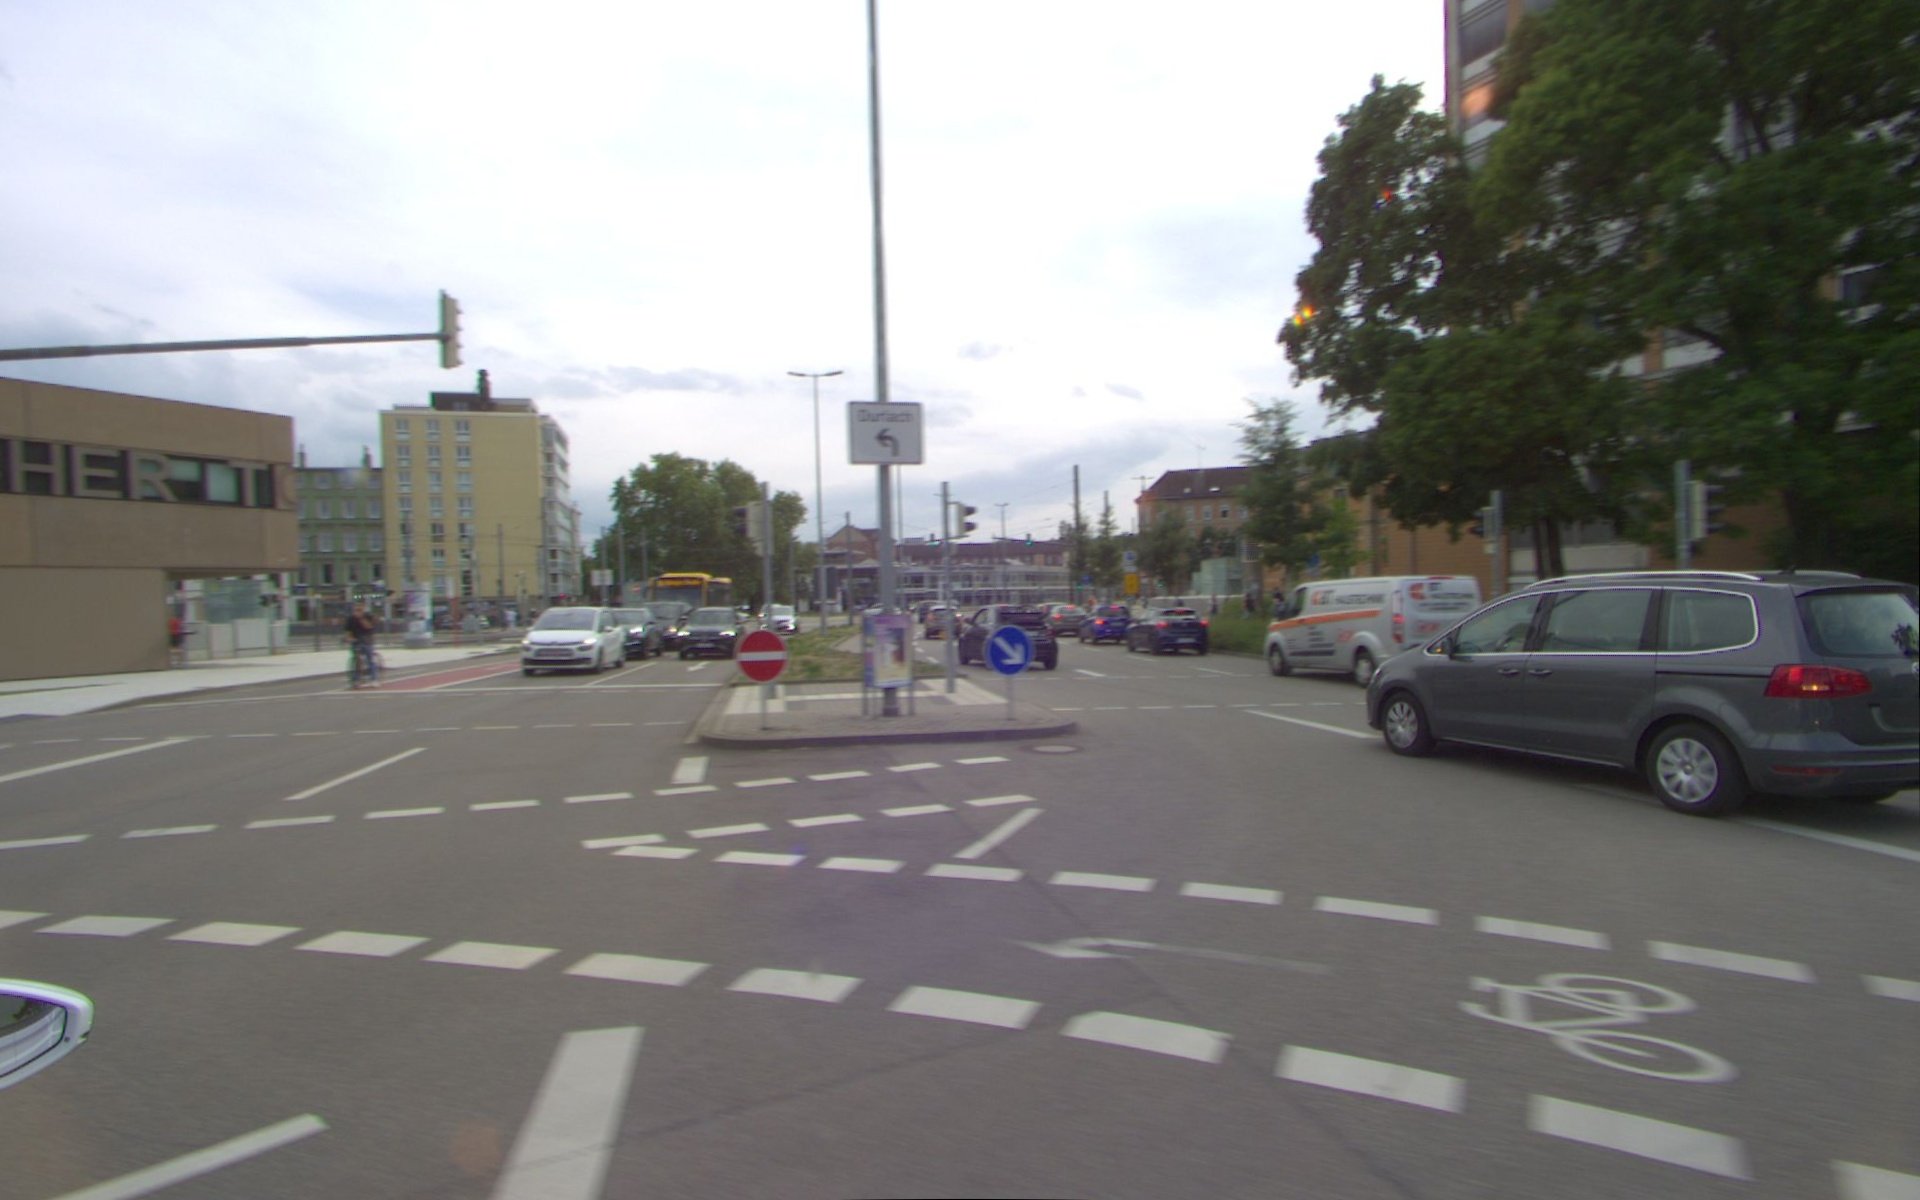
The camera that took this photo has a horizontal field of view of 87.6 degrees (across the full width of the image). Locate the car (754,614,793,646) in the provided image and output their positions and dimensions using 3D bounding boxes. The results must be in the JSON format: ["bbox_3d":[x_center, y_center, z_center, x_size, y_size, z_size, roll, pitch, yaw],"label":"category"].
[{"bbox_3d":[-10.178,1.635,54.840,1.962,1.672,4.510,0,-1,-9],"label":"car"}]

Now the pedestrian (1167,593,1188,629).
[{"bbox_3d":[9.806,0.503,45.164,0.765,1.595,0.812,-2,1,3],"label":"pedestrian"}]

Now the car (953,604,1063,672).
[{"bbox_3d":[1.094,0.881,24.271,1.642,1.509,3.436,0,-1,-16],"label":"car"}]

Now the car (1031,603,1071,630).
[{"bbox_3d":[4.937,0.923,54.597,1.676,1.438,3.701,0,-1,-3],"label":"car"}]

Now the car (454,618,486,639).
[{"bbox_3d":[-48.423,2.800,99.009,1.964,2.039,3.996,1,-1,-14],"label":"car"}]

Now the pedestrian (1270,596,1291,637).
[{"bbox_3d":[12.560,0.637,39.209,0.544,1.557,0.545,-3,1,-43],"label":"pedestrian"}]

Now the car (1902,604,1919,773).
[{"bbox_3d":[9.916,0.751,7.056,1.792,1.493,4.522,1,-1,-15],"label":"car"}]

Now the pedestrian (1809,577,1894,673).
[{"bbox_3d":[15.522,0.427,17.444,0.767,1.595,0.810,-3,1,-20],"label":"pedestrian"}]

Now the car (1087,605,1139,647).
[{"bbox_3d":[5.862,0.997,38.725,1.828,1.552,4.003,0,-1,6],"label":"car"}]

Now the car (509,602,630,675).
[{"bbox_3d":[-9.791,0.947,25.435,1.962,1.672,4.289,0,-1,-9],"label":"car"}]

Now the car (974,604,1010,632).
[{"bbox_3d":[1.671,0.966,53.521,1.683,1.438,4.001,0,-1,-1],"label":"car"}]

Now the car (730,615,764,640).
[{"bbox_3d":[-14.269,1.836,67.159,1.962,1.672,4.510,0,-1,-9],"label":"car"}]

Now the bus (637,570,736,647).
[{"bbox_3d":[-13.208,0.529,49.502,3.098,3.297,12.411,0,-1,-8],"label":"bus"}]

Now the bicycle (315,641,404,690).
[{"bbox_3d":[-12.295,1.318,20.589,0.849,0.888,2.516,1,-1,-14],"label":"bicycle"}]

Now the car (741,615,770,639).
[{"bbox_3d":[-15.253,2.008,74.869,1.962,1.672,4.510,0,-1,-9],"label":"car"}]

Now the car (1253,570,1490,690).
[{"bbox_3d":[7.655,0.563,19.319,1.791,1.985,5.203,0,-1,-9],"label":"car"}]

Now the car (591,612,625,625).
[{"bbox_3d":[-45.029,2.355,128.031,3.925,1.706,1.604,1,-1,-11],"label":"car"}]

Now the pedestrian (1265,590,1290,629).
[{"bbox_3d":[13.196,0.385,41.639,0.765,1.595,0.812,-2,1,3],"label":"pedestrian"}]

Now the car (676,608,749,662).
[{"bbox_3d":[-8.141,1.138,33.253,1.962,1.672,4.510,0,-1,-9],"label":"car"}]

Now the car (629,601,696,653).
[{"bbox_3d":[-11.581,1.065,39.242,1.962,1.923,4.289,0,-1,-9],"label":"car"}]

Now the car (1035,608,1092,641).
[{"bbox_3d":[4.800,1.149,47.014,2.098,1.438,3.701,0,-1,-3],"label":"car"}]

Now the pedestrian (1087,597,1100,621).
[{"bbox_3d":[9.181,0.601,69.100,0.765,1.595,0.812,-2,1,3],"label":"pedestrian"}]

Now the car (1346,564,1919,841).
[{"bbox_3d":[5.533,0.677,8.535,1.729,1.672,4.679,1,-1,-16],"label":"car"}]

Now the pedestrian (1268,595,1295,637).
[{"bbox_3d":[12.614,0.637,39.282,0.765,1.595,0.812,-2,1,3],"label":"pedestrian"}]

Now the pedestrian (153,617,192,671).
[{"bbox_3d":[-26.507,1.481,33.706,0.770,1.756,0.807,-2,1,36],"label":"pedestrian"}]

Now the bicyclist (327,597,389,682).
[{"bbox_3d":[-12.262,0.802,20.425,0.854,1.690,0.880,0,-1,-14],"label":"bicyclist"}]

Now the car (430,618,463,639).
[{"bbox_3d":[-50.376,2.771,98.278,1.964,2.039,3.996,1,-1,-14],"label":"car"}]

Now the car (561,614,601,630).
[{"bbox_3d":[-42.615,2.468,112.686,3.925,1.706,1.604,1,-1,-11],"label":"car"}]

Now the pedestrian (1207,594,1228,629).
[{"bbox_3d":[12.218,0.534,47.569,0.765,1.595,0.812,-2,1,3],"label":"pedestrian"}]

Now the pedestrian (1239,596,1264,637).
[{"bbox_3d":[11.712,0.662,40.258,0.765,1.595,0.812,-2,1,3],"label":"pedestrian"}]

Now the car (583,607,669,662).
[{"bbox_3d":[-10.799,1.110,32.655,1.962,1.672,4.289,0,-1,-9],"label":"car"}]

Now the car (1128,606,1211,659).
[{"bbox_3d":[6.364,0.974,30.745,1.639,1.527,3.635,0,-1,-2],"label":"car"}]

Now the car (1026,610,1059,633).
[{"bbox_3d":[5.432,1.418,66.437,1.676,1.438,3.701,0,-1,-3],"label":"car"}]

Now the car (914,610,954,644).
[{"bbox_3d":[-1.125,1.207,44.697,1.667,1.423,3.701,0,-1,0],"label":"car"}]

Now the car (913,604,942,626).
[{"bbox_3d":[-2.373,1.118,74.159,1.804,1.636,3.547,0,-1,4],"label":"car"}]

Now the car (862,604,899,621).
[{"bbox_3d":[-7.131,1.136,89.532,1.694,1.438,3.975,1,-1,-33],"label":"car"}]
